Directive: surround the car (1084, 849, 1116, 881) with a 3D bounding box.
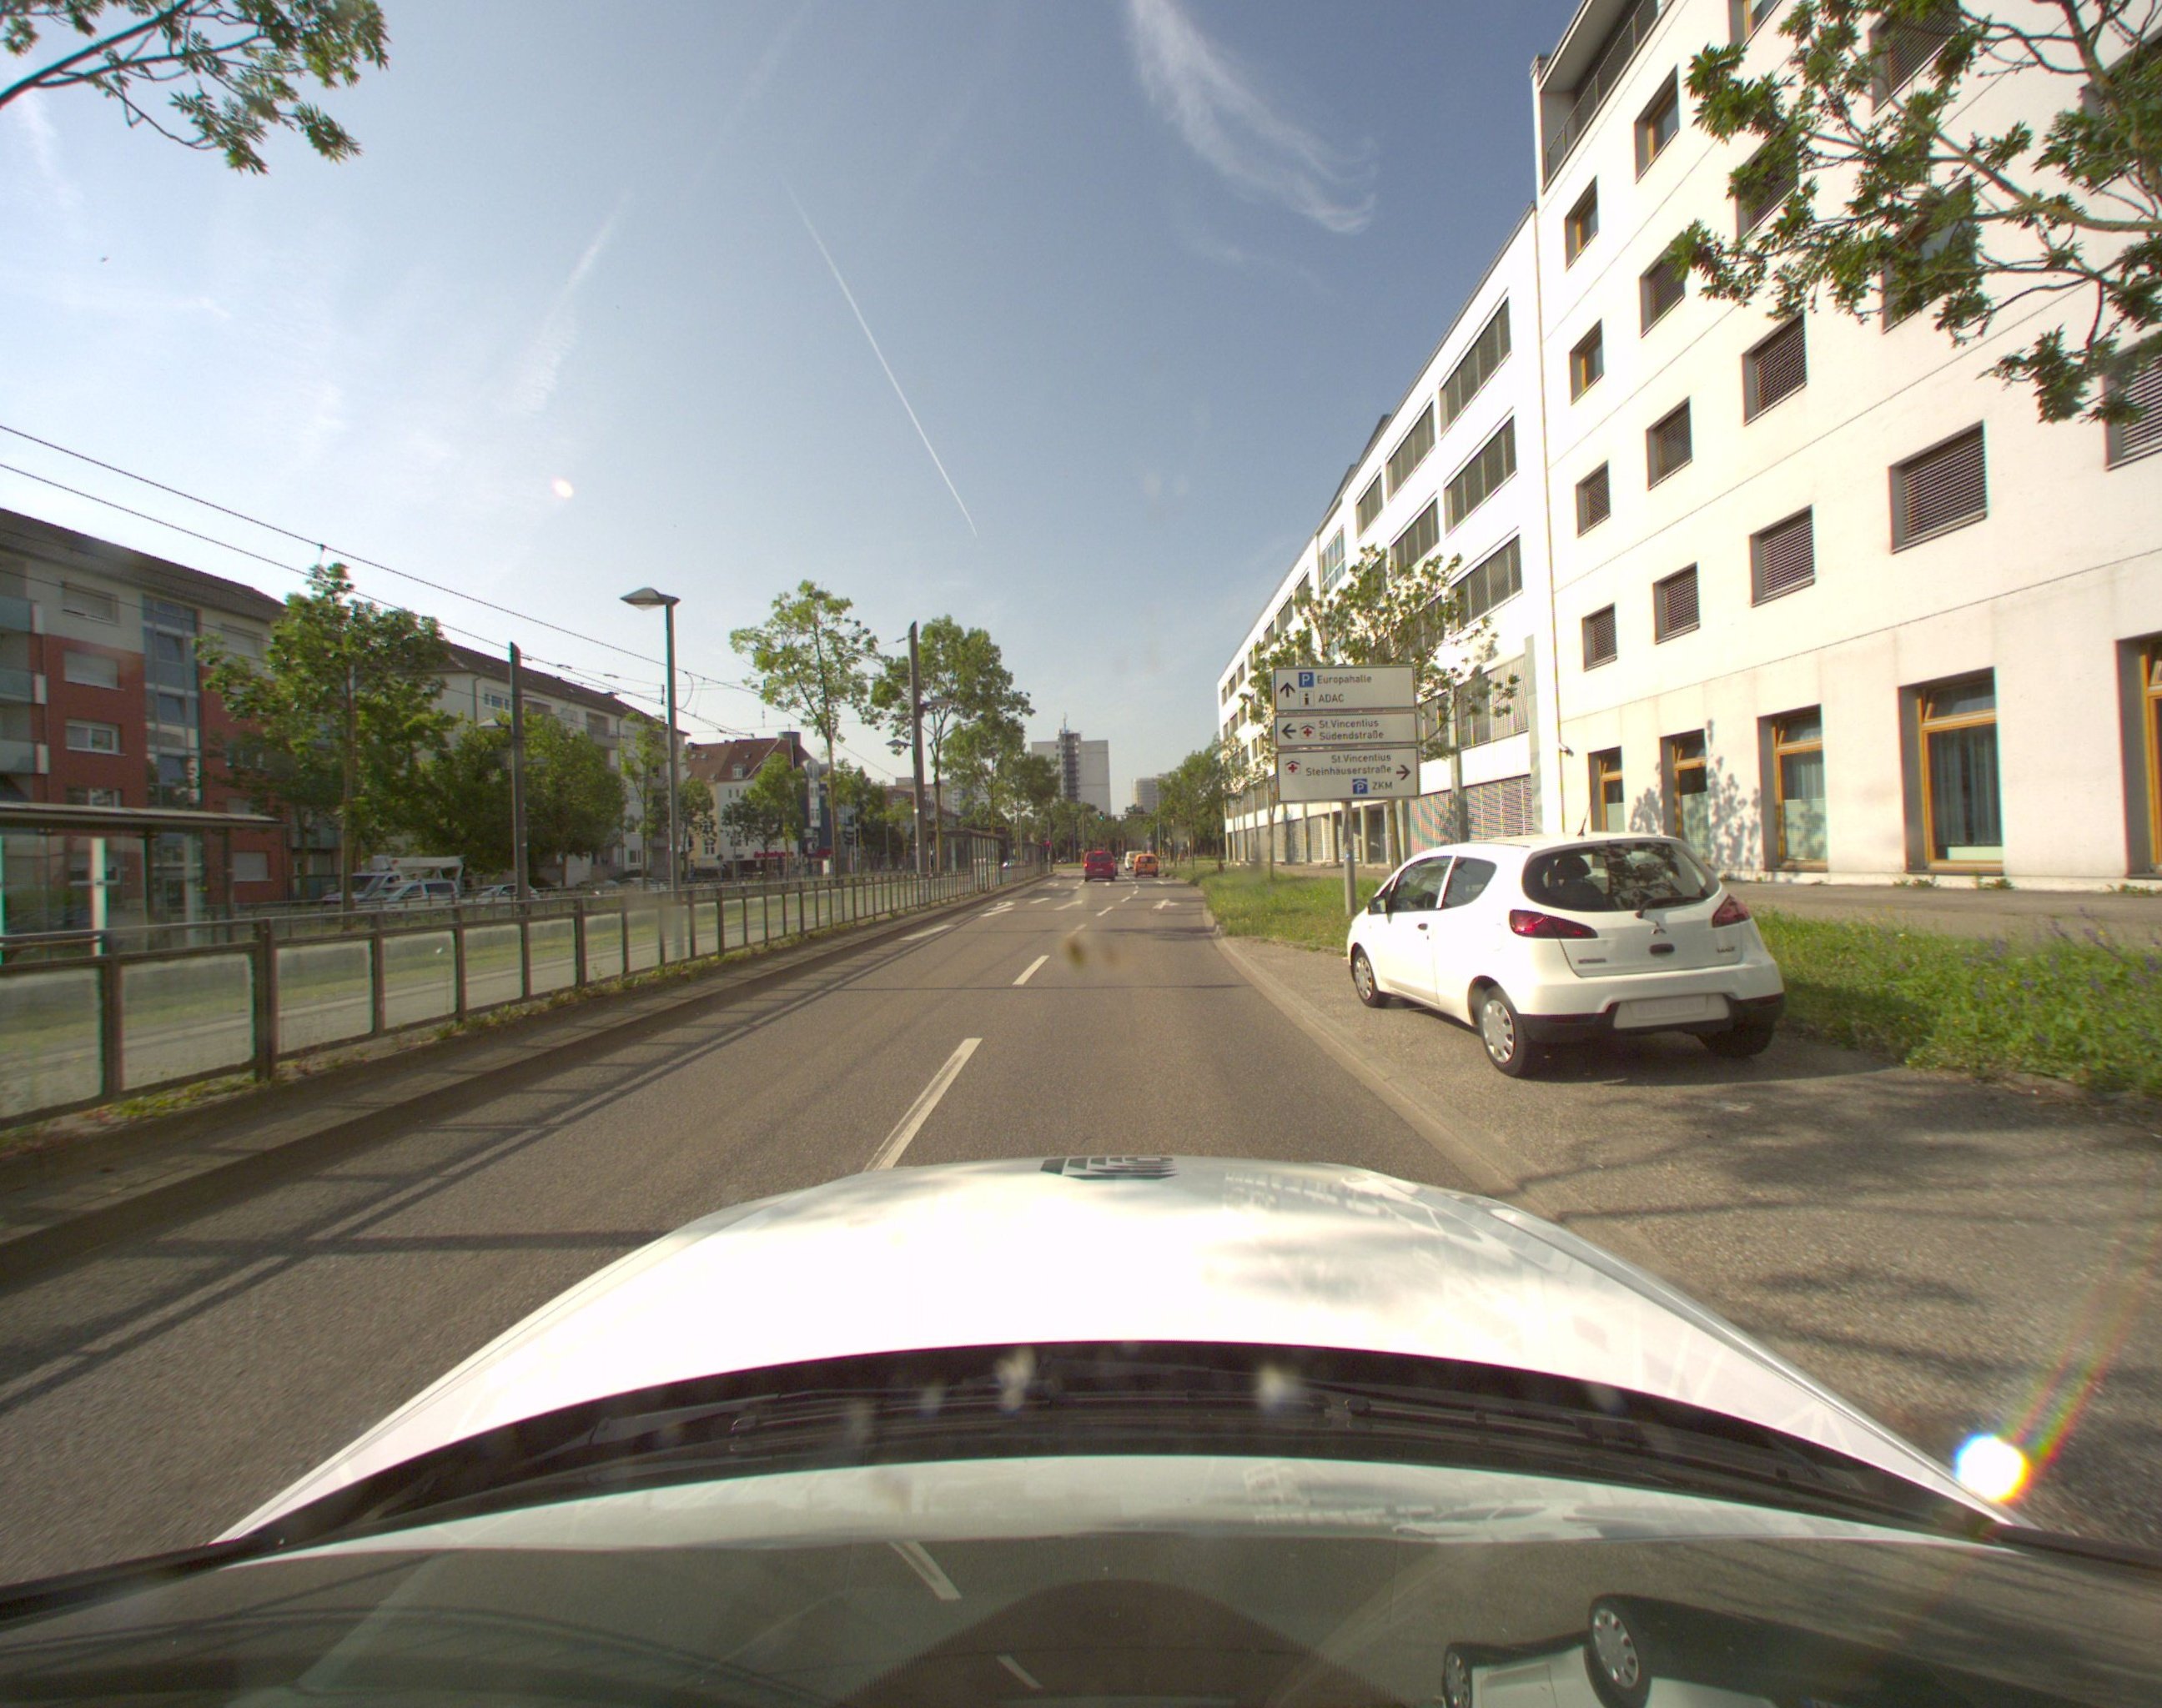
[{"bbox_3d":[1.141,0.685,51.255,1.868,1.853,4.000,-2,0,0],"label":"car"}]

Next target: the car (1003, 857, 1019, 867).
[{"bbox_3d":[-11.723,1.288,136.304,1.984,1.596,4.055,-1,-1,5],"label":"car"}]

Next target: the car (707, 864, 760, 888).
[{"bbox_3d":[-31.068,1.934,73.000,2.358,2.030,5.311,-1,-1,1],"label":"car"}]

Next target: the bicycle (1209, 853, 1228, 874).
[{"bbox_3d":[7.074,0.490,42.010,0.616,1.017,1.880,-2,0,0],"label":"bicycle"}]

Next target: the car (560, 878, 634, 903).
[{"bbox_3d":[-26.529,2.015,44.633,3.948,1.244,1.844,-2,-1,32],"label":"car"}]

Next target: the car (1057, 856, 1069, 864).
[{"bbox_3d":[-3.848,1.258,174.064,1.865,1.574,4.007,-2,0,6],"label":"car"}]

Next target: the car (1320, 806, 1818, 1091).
[{"bbox_3d":[3.427,0.559,6.692,1.683,1.526,3.850,-5,0,0],"label":"car"}]

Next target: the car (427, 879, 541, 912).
[{"bbox_3d":[-28.544,1.958,39.143,1.974,1.379,4.684,-1,-1,1],"label":"car"}]

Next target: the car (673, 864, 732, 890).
[{"bbox_3d":[-31.065,1.874,67.073,2.358,2.030,5.311,-1,-1,1],"label":"car"}]

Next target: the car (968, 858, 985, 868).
[{"bbox_3d":[-16.918,1.450,131.710,1.986,1.596,4.002,-1,-1,2],"label":"car"}]

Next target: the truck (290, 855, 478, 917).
[{"bbox_3d":[-31.746,1.360,37.588,2.357,2.563,7.241,-1,-1,1],"label":"truck"}]

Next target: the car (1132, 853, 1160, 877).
[{"bbox_3d":[4.809,0.790,60.517,1.868,1.696,3.975,-2,0,2],"label":"car"}]

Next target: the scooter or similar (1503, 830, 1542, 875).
[{"bbox_3d":[12.410,-0.046,22.926,0.460,1.213,1.257,-4,0,7],"label":"scooter or similar"}]

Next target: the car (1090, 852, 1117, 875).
[{"bbox_3d":[1.801,0.773,65.599,1.986,1.706,4.001,-3,0,1],"label":"car"}]

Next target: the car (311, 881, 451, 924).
[{"bbox_3d":[-28.524,1.933,33.387,1.974,1.513,4.281,-1,-1,1],"label":"car"}]

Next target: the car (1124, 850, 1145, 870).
[{"bbox_3d":[5.520,0.618,84.312,1.986,2.014,4.001,-1,-1,1],"label":"car"}]

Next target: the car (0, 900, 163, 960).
[{"bbox_3d":[-28.878,2.075,22.679,1.974,1.360,4.069,-1,-1,1],"label":"car"}]

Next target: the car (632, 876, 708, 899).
[{"bbox_3d":[-25.538,2.087,50.637,3.956,1.244,1.948,-2,0,16],"label":"car"}]

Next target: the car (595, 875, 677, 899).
[{"bbox_3d":[-26.234,1.955,48.047,3.956,1.244,1.948,-2,0,16],"label":"car"}]
